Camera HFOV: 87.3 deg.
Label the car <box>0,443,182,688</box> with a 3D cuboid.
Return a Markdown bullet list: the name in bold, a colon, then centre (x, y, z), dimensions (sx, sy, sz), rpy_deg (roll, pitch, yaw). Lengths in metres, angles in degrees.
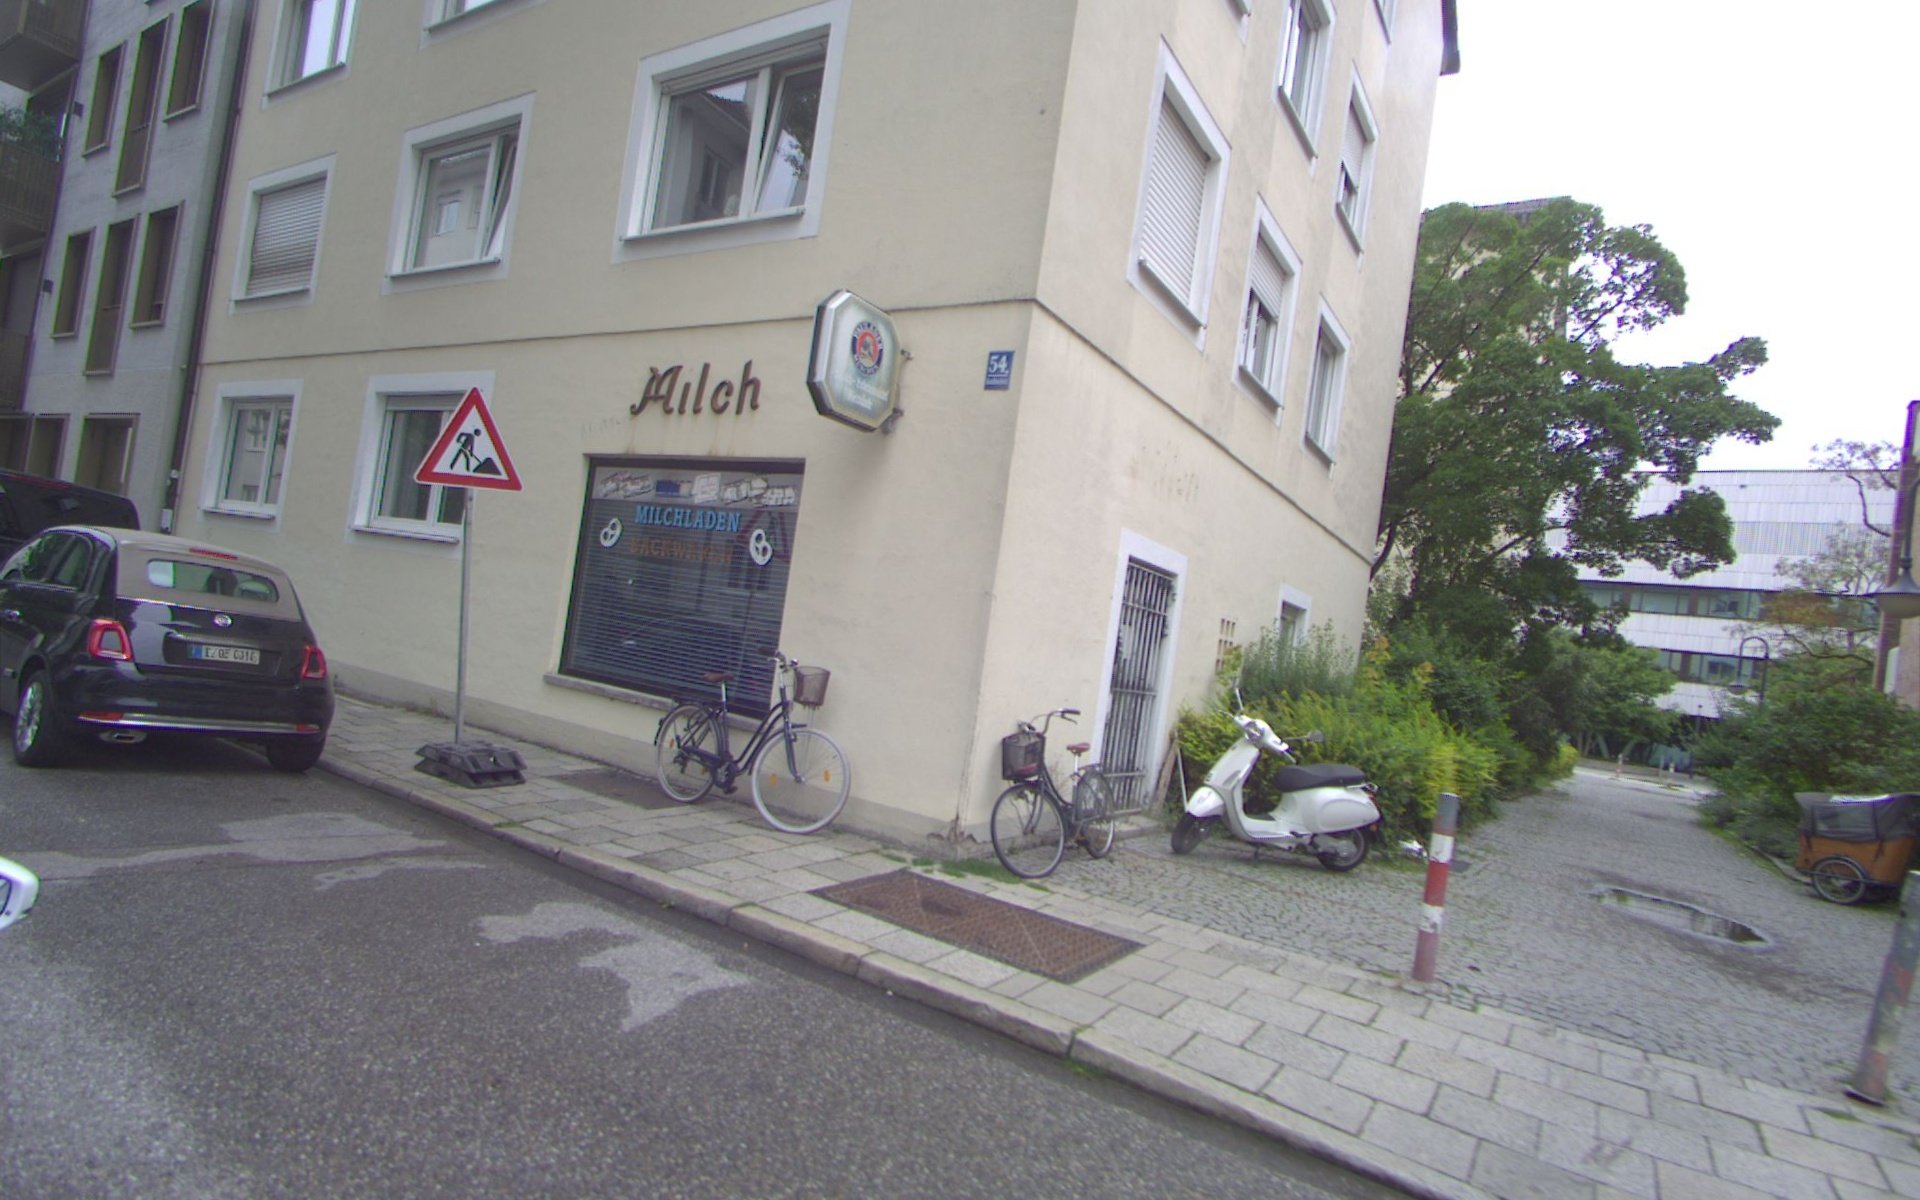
- **car**: centre (-10.114, -0.545, 9.979), dimensions (4.803, 1.997, 1.996), rpy_deg (7, -4, 31)

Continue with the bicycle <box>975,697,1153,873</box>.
- **bicycle**: centre (0.780, 1.237, 7.033), dimensions (0.404, 1.038, 1.703), rpy_deg (6, -2, 33)

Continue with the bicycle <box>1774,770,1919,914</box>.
- **bicycle**: centre (10.123, 2.622, 10.573), dimensions (0.799, 1.282, 2.254), rpy_deg (9, -4, -23)

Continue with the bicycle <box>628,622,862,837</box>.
- **bicycle**: centre (-1.567, 0.858, 7.144), dimensions (1.790, 1.229, 0.410), rpy_deg (5, 0, 34)

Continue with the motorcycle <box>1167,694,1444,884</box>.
- **motorcycle**: centre (2.694, 1.470, 7.938), dimensions (1.841, 1.135, 0.621), rpy_deg (9, 0, -5)

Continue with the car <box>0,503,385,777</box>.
- **car**: centre (-6.033, 0.210, 7.363), dimensions (3.481, 1.487, 1.638), rpy_deg (7, -4, 34)
